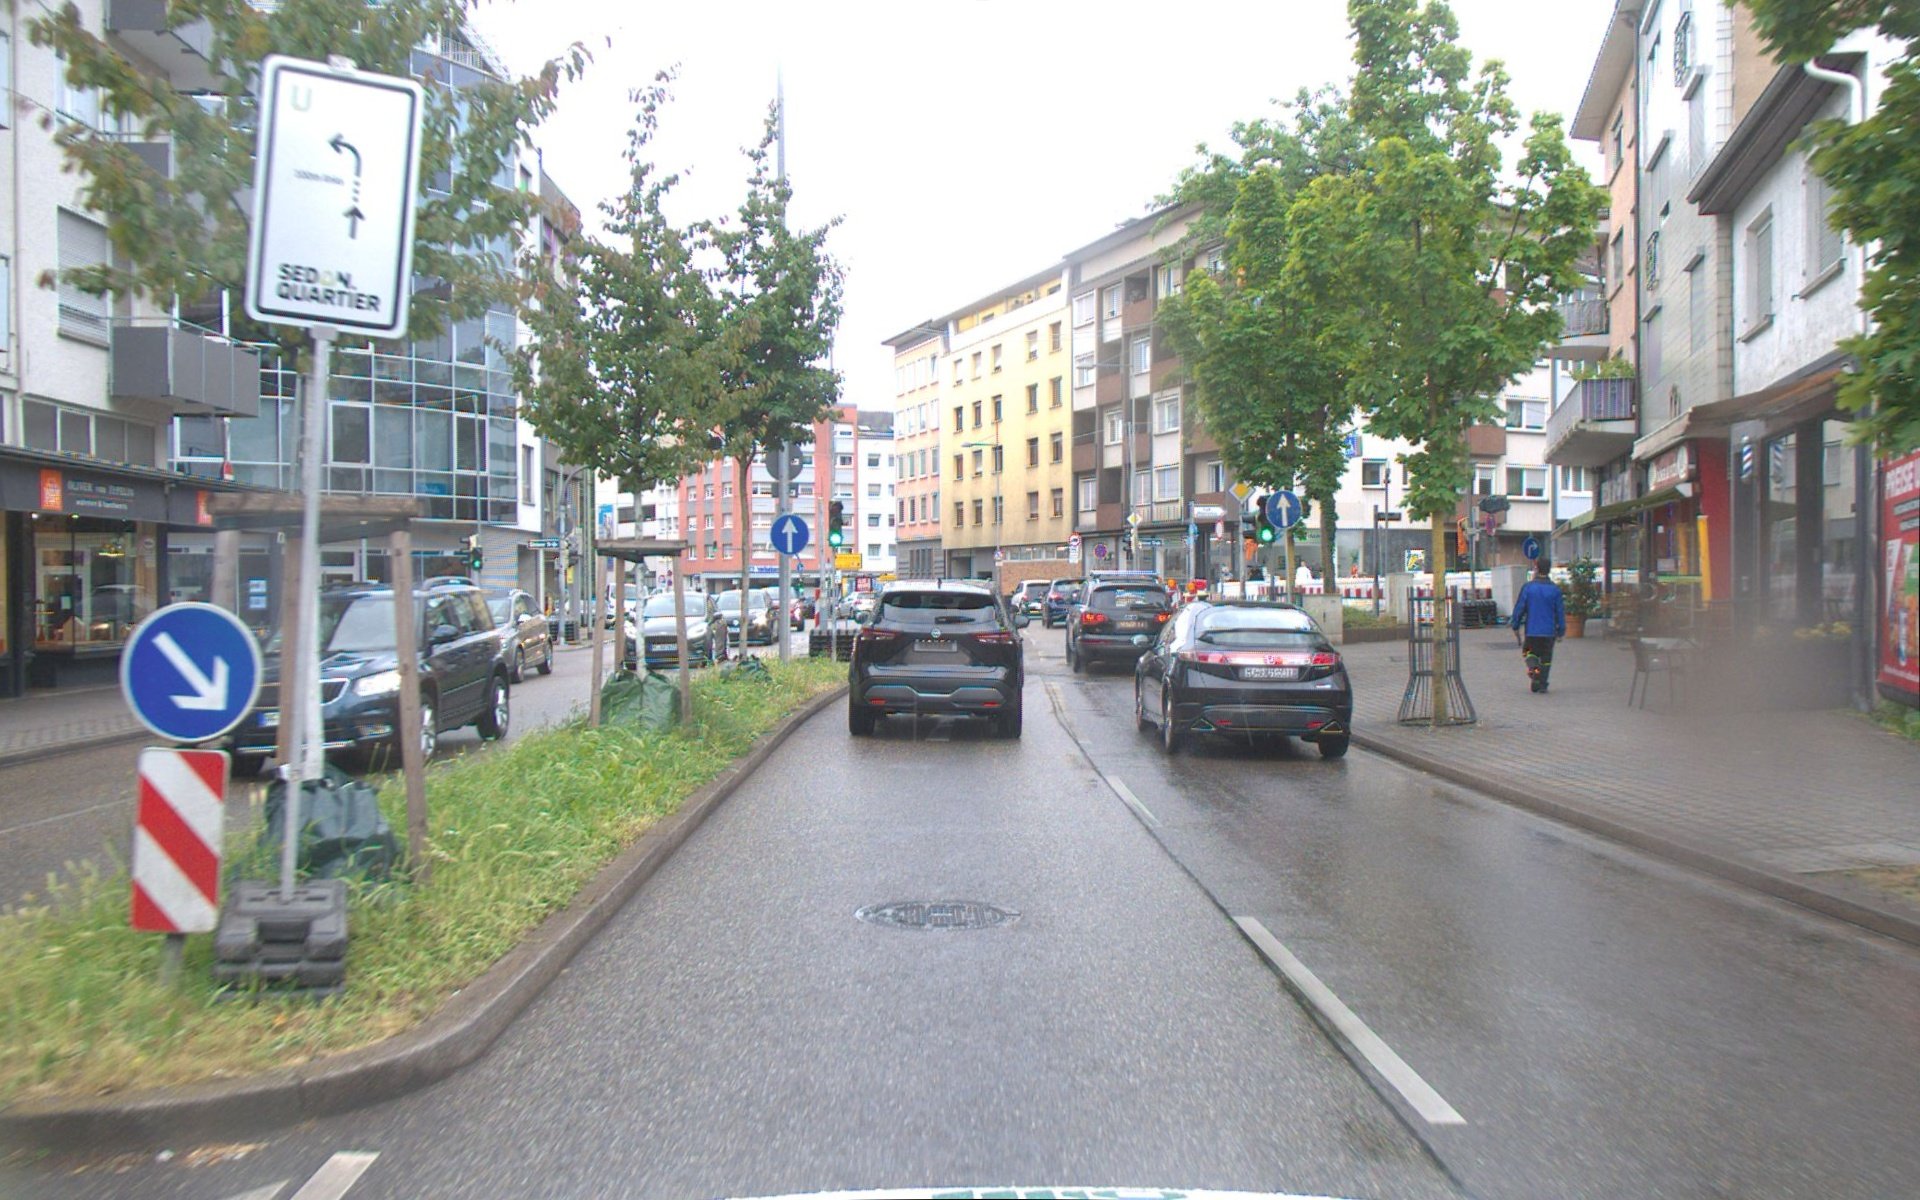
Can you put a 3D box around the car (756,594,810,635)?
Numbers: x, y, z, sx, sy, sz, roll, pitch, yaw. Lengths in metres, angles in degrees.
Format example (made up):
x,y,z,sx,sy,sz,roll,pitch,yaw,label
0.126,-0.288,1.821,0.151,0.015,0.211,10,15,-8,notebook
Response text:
x,y,z,sx,sy,sz,roll,pitch,yaw,label
-6.146,0.484,57.673,1.608,1.344,3.347,-2,0,-2,car

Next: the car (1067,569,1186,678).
x,y,z,sx,sy,sz,roll,pitch,yaw,label
3.010,0.378,30.538,1.793,1.837,3.719,1,1,0,car

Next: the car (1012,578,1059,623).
x,y,z,sx,sy,sz,roll,pitch,yaw,label
3.026,0.003,66.784,1.792,1.713,3.720,1,1,2,car

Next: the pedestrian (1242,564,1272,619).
x,y,z,sx,sy,sz,roll,pitch,yaw,label
11.183,-0.335,62.279,0.807,2.049,0.837,1,0,-11,pedestrian

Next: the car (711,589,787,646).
x,y,z,sx,sy,sz,roll,pitch,yaw,label
-5.575,0.438,44.079,1.637,1.393,3.751,-2,0,-2,car

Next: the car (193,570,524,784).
x,y,z,sx,sy,sz,roll,pitch,yaw,label
-5.486,0.624,15.660,1.649,1.690,4.095,-3,0,-1,car

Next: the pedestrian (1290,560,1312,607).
x,y,z,sx,sy,sz,roll,pitch,yaw,label
13.344,-0.657,64.680,0.523,1.800,0.616,1,1,-32,pedestrian

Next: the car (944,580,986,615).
x,y,z,sx,sy,sz,roll,pitch,yaw,label
0.196,-0.108,72.167,1.608,1.405,3.346,-2,0,-3,car

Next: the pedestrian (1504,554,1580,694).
x,y,z,sx,sy,sz,roll,pitch,yaw,label
7.626,0.305,21.712,0.774,1.786,0.872,-2,0,11,pedestrian

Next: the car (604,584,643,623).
x,y,z,sx,sy,sz,roll,pitch,yaw,label
-14.434,0.163,71.049,1.522,1.598,3.339,2,0,-11,car

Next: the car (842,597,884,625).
x,y,z,sx,sy,sz,roll,pitch,yaw,label
-5.210,0.583,88.571,1.613,1.368,3.336,-2,0,-14,car

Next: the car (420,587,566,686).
x,y,z,sx,sy,sz,roll,pitch,yaw,label
-8.491,0.616,30.393,1.599,1.619,3.935,-3,0,-2,car

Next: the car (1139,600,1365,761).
x,y,z,sx,sy,sz,roll,pitch,yaw,label
2.839,0.730,16.810,1.749,1.424,3.719,0,0,2,car

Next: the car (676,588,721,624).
x,y,z,sx,sy,sz,roll,pitch,yaw,label
-11.527,0.265,73.059,1.609,1.516,3.345,-2,0,-4,car

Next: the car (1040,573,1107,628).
x,y,z,sx,sy,sz,roll,pitch,yaw,label
3.475,-0.013,51.190,1.793,1.589,3.719,1,1,0,car

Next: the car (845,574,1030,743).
x,y,z,sx,sy,sz,roll,pitch,yaw,label
-0.253,0.568,18.117,1.786,1.628,3.718,1,0,-1,car

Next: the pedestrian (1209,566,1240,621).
x,y,z,sx,sy,sz,roll,pitch,yaw,label
10.008,-0.253,62.679,0.809,2.049,0.835,1,1,-20,pedestrian

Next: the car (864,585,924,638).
x,y,z,sx,sy,sz,roll,pitch,yaw,label
-1.882,0.311,47.069,1.608,1.405,3.346,-2,0,-3,car

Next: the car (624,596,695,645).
x,y,z,sx,sy,sz,roll,pitch,yaw,label
-8.723,0.569,48.226,1.519,1.312,3.347,-2,0,-2,car

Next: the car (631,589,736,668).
x,y,z,sx,sy,sz,roll,pitch,yaw,label
-5.509,0.532,33.324,1.502,1.437,3.936,-3,0,-2,car

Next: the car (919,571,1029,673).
x,y,z,sx,sy,sz,roll,pitch,yaw,label
0.202,0.358,29.049,1.786,1.628,3.718,1,0,-1,car

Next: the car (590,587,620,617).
x,y,z,sx,sy,sz,roll,pitch,yaw,label
-18.234,0.077,84.912,1.430,1.455,3.359,1,1,-13,car
